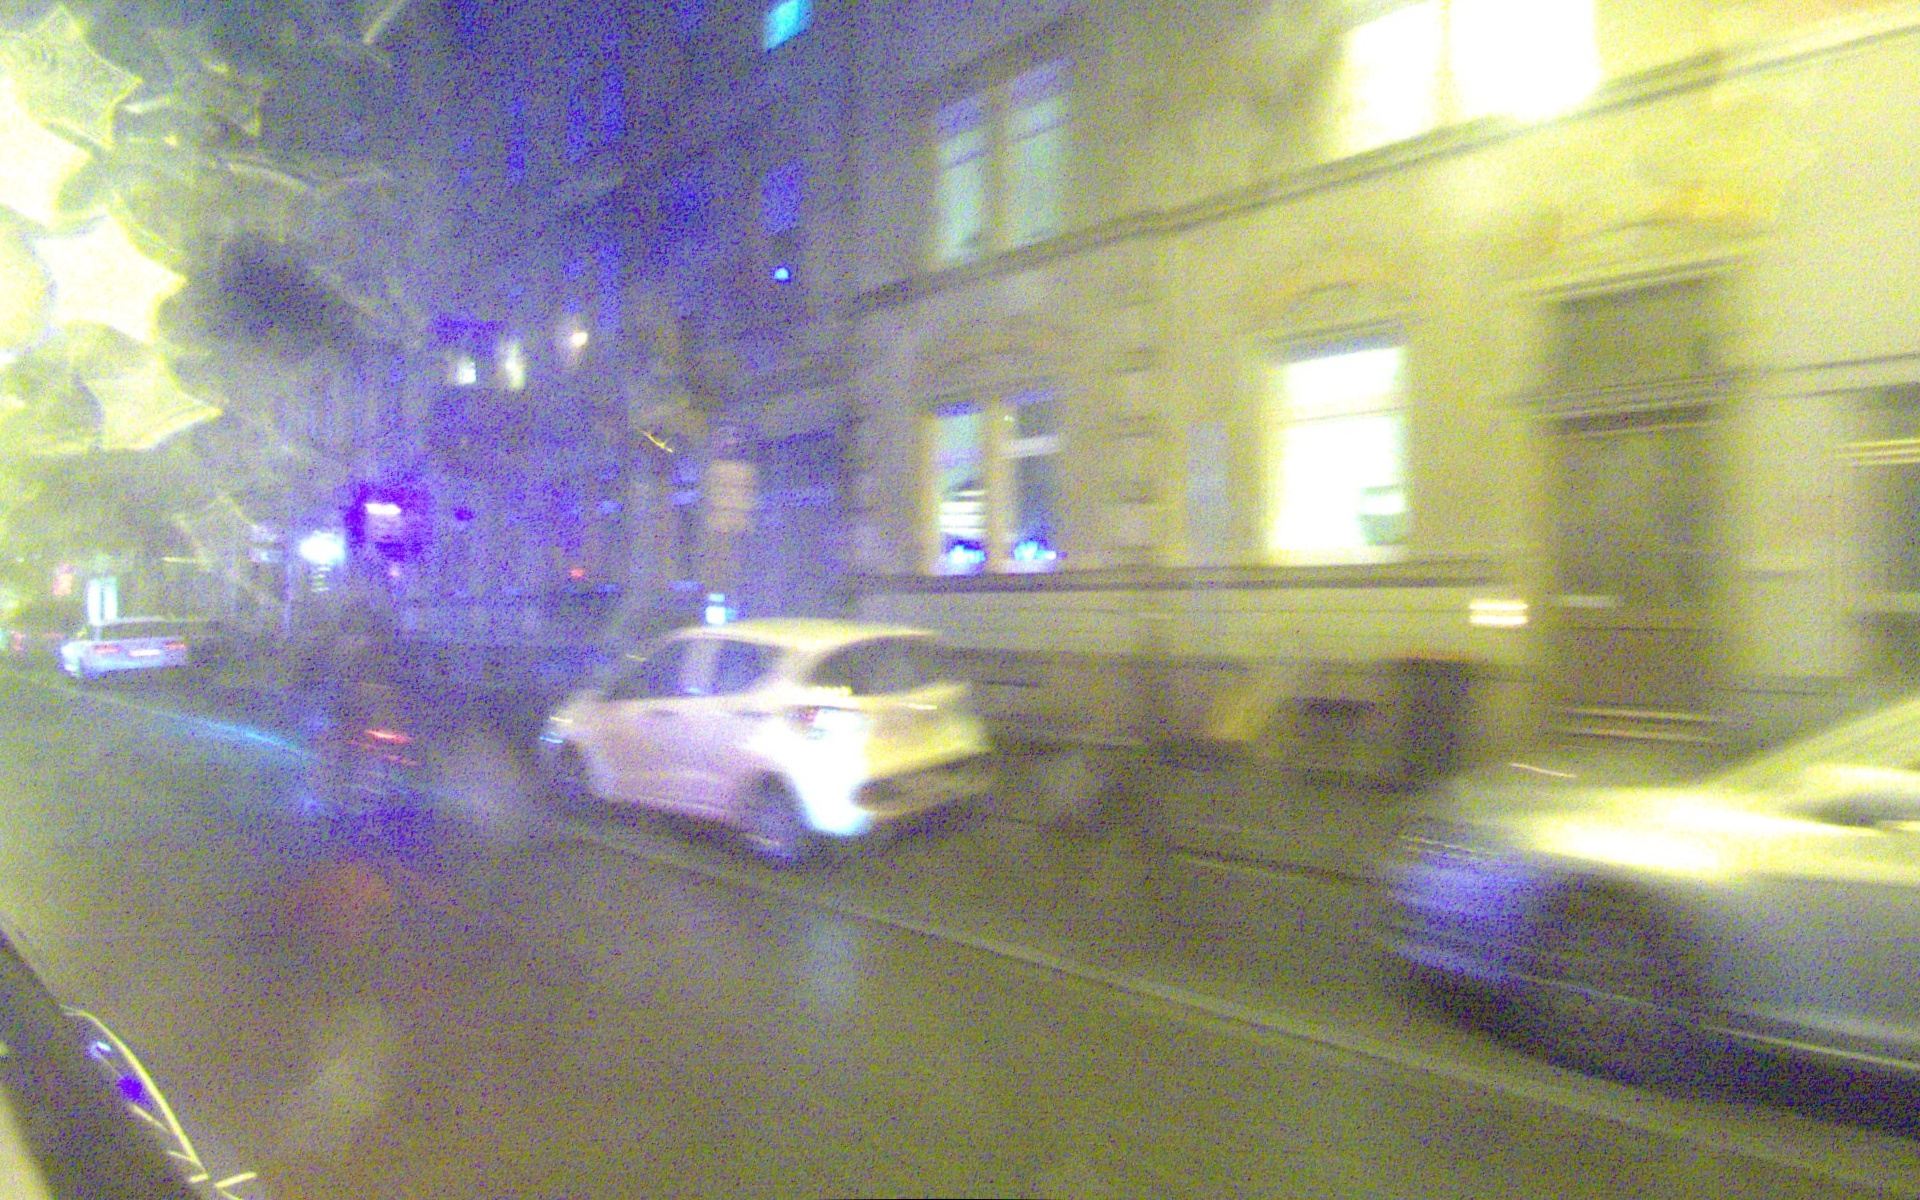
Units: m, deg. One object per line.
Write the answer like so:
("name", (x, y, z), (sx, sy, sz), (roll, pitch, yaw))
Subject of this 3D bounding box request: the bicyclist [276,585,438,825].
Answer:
("bicyclist", (-4.288, 0.705, 7.198), (0.895, 1.568, 0.711), (-1, -3, 41))

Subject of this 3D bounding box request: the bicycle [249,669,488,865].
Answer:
("bicycle", (-4.227, 1.075, 7.135), (2.347, 1.081, 0.720), (-1, -3, 41))

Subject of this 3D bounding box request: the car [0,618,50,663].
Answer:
("car", (-32.513, 1.364, 34.667), (3.718, 1.471, 1.552), (-1, -2, 42))

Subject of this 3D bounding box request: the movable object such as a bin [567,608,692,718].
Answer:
("movable object such as a bin", (-4.691, 0.866, 14.354), (1.377, 1.465, 1.090), (-1, -3, 39))

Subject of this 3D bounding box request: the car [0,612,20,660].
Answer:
("car", (-39.292, 1.426, 40.560), (4.827, 1.843, 1.882), (-1, -2, 42))

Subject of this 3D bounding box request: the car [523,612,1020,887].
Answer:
("car", (-1.537, 0.855, 7.455), (3.719, 1.502, 1.654), (-1, -1, 41))

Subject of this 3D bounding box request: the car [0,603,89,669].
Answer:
("car", (-28.105, 1.060, 30.605), (5.204, 1.843, 1.975), (-1, -2, 42))

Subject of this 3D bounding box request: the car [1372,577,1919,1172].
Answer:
("car", (3.612, 0.740, 2.958), (4.132, 1.584, 1.756), (-1, -2, 41))

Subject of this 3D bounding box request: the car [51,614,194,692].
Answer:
("car", (-18.758, 1.113, 22.587), (4.770, 1.494, 1.749), (-1, 1, 42))
